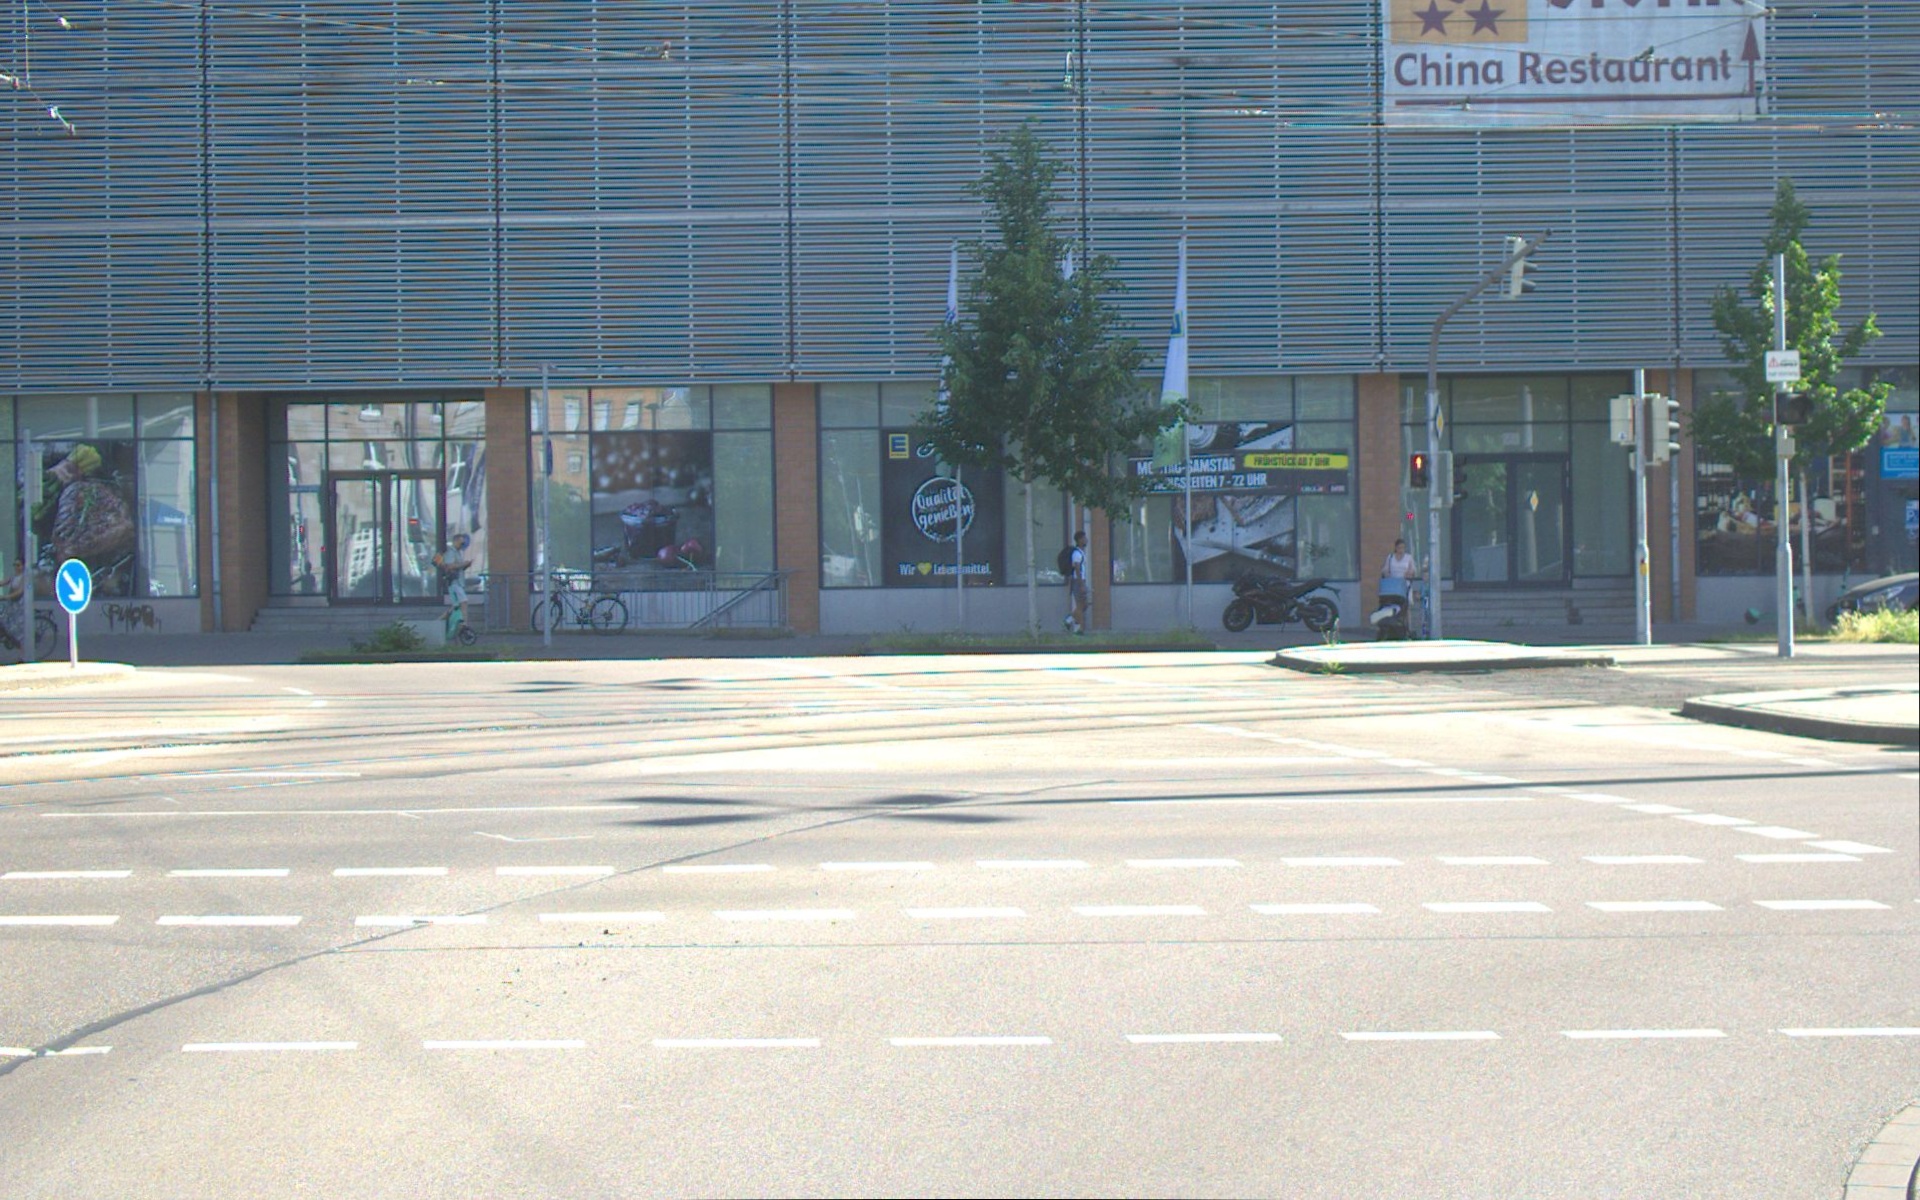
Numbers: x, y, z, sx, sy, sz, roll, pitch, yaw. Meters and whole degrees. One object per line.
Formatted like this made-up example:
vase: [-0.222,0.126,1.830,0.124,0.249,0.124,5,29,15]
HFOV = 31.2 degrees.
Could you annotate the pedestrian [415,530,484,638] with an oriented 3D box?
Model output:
pedestrian: [-8.864,-0.279,59.766,0.950,1.822,0.846,-2,1,5]

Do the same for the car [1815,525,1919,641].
car: [13.757,-0.142,45.851,4.146,1.464,1.841,3,0,-1]

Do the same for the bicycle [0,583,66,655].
bicycle: [-15.242,0.312,54.864,0.568,1.082,1.859,1,3,43]

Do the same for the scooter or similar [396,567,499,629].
scooter or similar: [-9.076,-0.044,60.929,1.792,1.062,0.613,0,2,-8]

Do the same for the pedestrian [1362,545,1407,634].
pedestrian: [6.834,-0.175,55.273,0.655,1.409,0.849,1,0,10]

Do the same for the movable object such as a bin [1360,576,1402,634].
movable object such as a bin: [6.715,0.080,54.812,0.613,0.901,0.968,1,0,10]

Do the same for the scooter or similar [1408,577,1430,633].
scooter or similar: [7.354,0.077,55.095,0.295,0.870,1.003,1,0,10]

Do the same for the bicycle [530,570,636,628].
bicycle: [-6.646,-0.015,60.546,1.815,0.986,0.558,-1,2,-10]

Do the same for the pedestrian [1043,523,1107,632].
pedestrian: [1.977,-0.401,59.086,1.012,1.822,1.035,-2,1,3]

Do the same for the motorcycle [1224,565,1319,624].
motorcycle: [5.497,-0.100,60.639,1.640,1.001,0.446,1,1,6]

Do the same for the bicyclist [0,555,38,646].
bicyclist: [-15.276,0.003,54.784,0.675,1.422,0.847,1,3,43]

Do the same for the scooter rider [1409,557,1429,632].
scooter rider: [7.347,-0.086,55.033,0.288,1.196,0.385,1,0,10]
